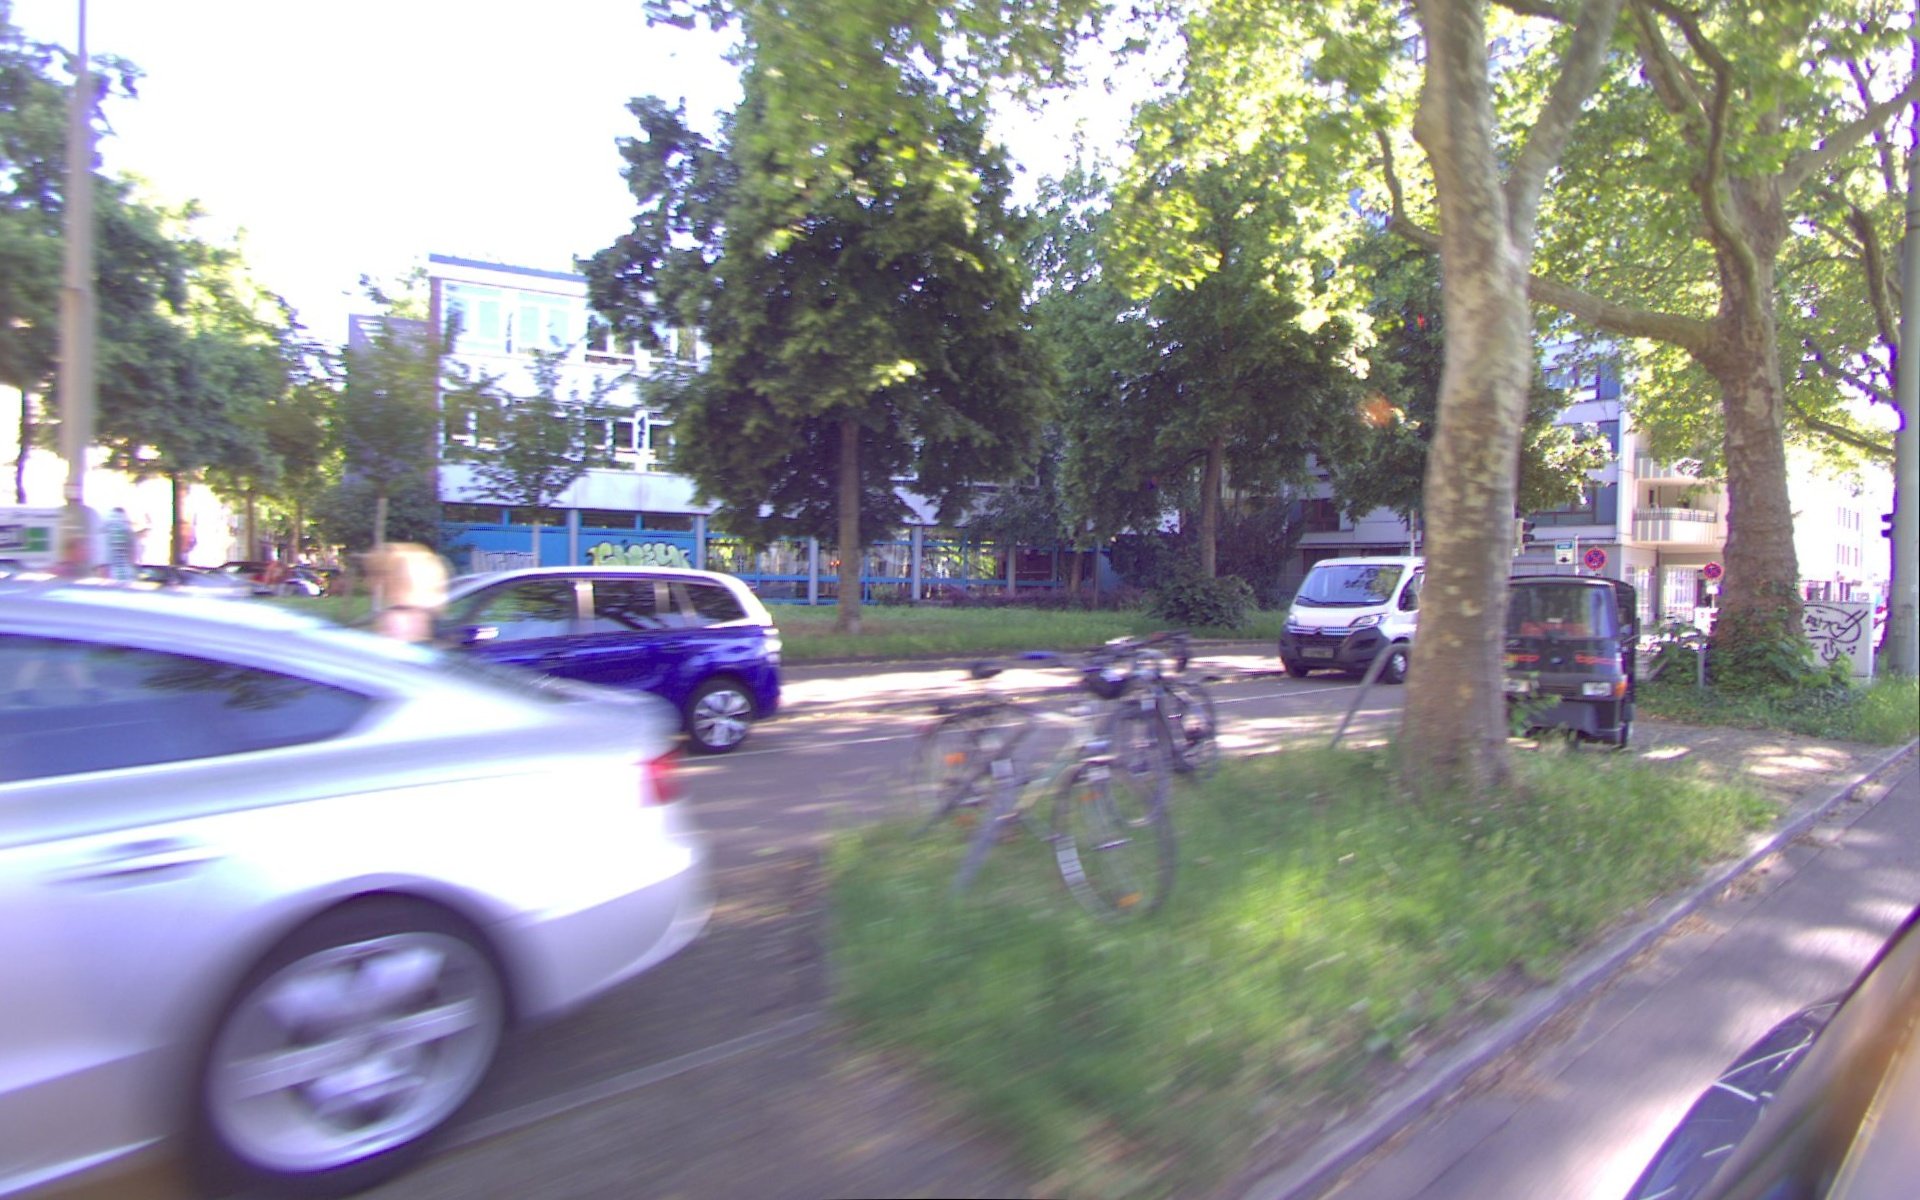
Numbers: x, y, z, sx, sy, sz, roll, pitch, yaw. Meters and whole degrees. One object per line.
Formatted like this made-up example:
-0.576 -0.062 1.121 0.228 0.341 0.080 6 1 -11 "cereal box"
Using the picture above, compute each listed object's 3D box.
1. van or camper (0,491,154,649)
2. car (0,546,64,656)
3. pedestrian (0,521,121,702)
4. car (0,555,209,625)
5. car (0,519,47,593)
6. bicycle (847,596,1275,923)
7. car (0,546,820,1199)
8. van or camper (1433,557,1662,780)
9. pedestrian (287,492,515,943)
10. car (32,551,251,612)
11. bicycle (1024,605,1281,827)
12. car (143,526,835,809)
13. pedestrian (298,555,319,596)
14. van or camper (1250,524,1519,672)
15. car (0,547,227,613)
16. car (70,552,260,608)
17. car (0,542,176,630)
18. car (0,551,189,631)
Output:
-17.759 -0.532 17.619 5.472 2.669 2.158 0 1 -25 "van or camper"
-16.608 -0.012 15.220 4.299 1.648 2.004 0 1 -26 "car"
-8.772 0.100 9.814 0.887 1.672 0.682 1 0 -34 "pedestrian"
-21.595 -0.269 25.247 4.299 1.648 2.004 0 1 -26 "car"
-40.971 -1.839 42.698 2.057 3.022 5.521 0 1 -24 "car"
0.344 0.573 4.663 0.665 1.138 2.073 -1 2 -41 "bicycle"
-2.840 0.600 2.013 4.938 1.415 1.757 -1 1 -41 "car"
5.170 0.456 8.903 1.494 1.607 2.808 1 1 32 "van or camper"
-2.305 0.427 4.161 0.700 1.631 0.688 0 -2 -40 "pedestrian"
-23.340 -0.528 29.125 4.558 1.648 2.004 0 1 -26 "car"
1.238 0.607 6.197 0.756 1.091 1.860 1 2 39 "bicycle"
-3.701 0.372 8.654 5.077 1.763 1.823 -1 2 -41 "car"
-26.343 -0.987 40.909 0.622 1.620 0.675 0 1 -25 "pedestrian"
7.914 -0.087 18.557 5.722 2.315 2.295 -1 1 -41 "van or camper"
-22.476 -0.525 27.108 4.299 1.648 2.004 0 1 -26 "car"
-24.554 -0.627 31.475 4.299 1.648 2.004 0 1 -26 "car"
-18.932 -0.294 20.372 4.647 1.690 2.004 0 1 -26 "car"
-20.320 -0.227 22.559 4.647 1.690 2.004 0 1 -26 "car"
